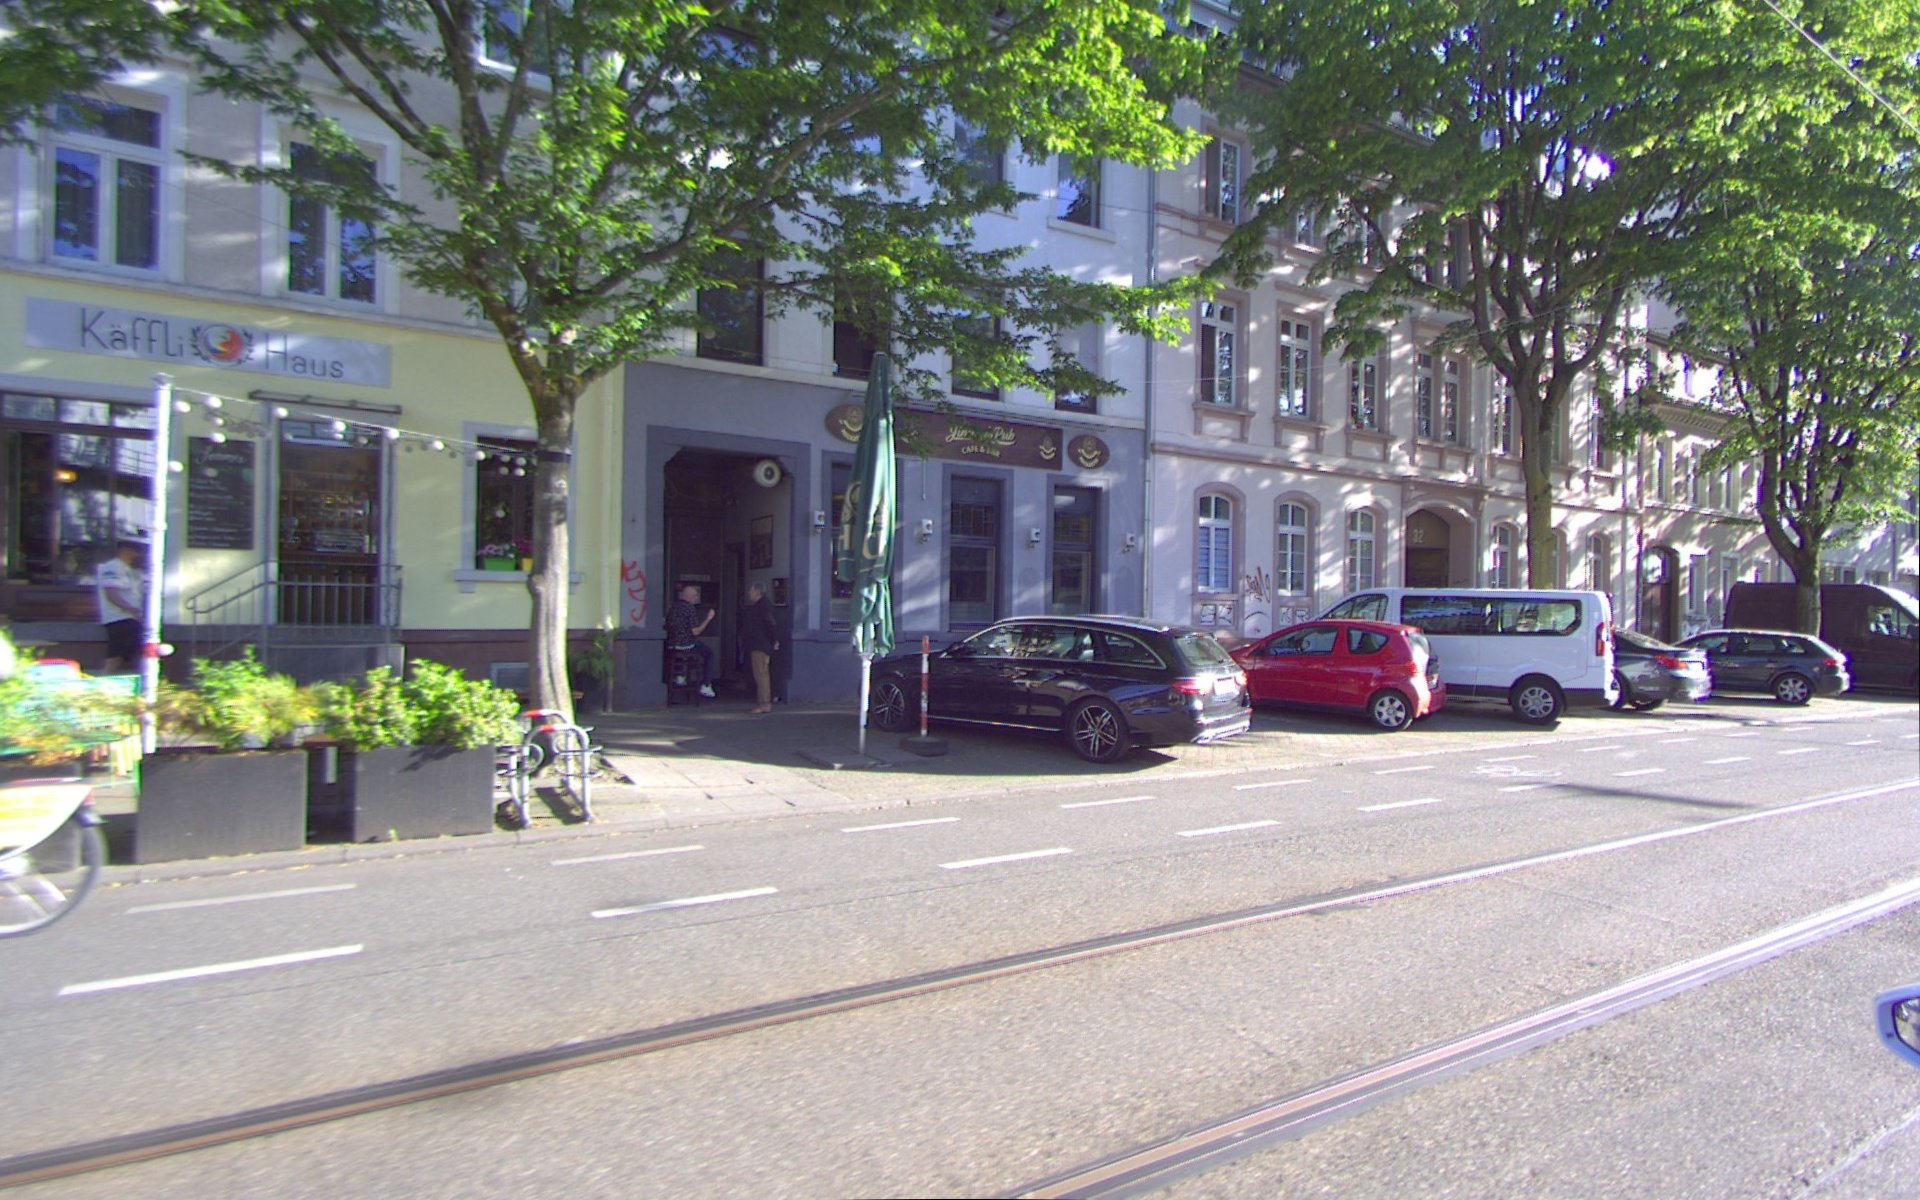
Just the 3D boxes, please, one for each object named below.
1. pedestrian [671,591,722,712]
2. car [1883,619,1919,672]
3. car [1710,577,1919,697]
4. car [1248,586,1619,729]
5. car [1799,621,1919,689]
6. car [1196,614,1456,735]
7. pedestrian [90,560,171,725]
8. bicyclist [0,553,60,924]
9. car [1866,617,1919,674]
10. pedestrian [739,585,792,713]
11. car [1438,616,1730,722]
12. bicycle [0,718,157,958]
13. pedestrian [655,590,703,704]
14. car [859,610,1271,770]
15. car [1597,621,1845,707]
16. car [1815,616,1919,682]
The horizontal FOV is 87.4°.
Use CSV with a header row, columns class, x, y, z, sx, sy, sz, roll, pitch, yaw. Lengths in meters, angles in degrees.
class,x,y,z,sx,sy,sz,roll,pitch,yaw
pedestrian,-3.733,0.722,14.223,0.564,1.664,0.535,1,-2,-33
car,31.621,1.535,31.190,1.812,1.629,4.055,2,1,-37
car,21.777,0.845,24.423,2.222,2.612,5.148,2,1,-34
car,7.646,0.844,16.493,5.260,2.018,2.032,0,-1,36
car,24.190,1.400,25.563,1.812,1.629,4.056,1,0,-37
car,5.385,1.007,14.907,3.274,1.523,1.681,0,1,39
pedestrian,-8.709,0.440,10.564,0.564,1.664,0.535,1,-2,-33
bicyclist,-4.703,0.593,4.383,1.017,1.593,0.720,1,-1,-32
car,29.637,1.444,29.614,1.812,1.629,4.055,2,1,-37
pedestrian,-2.703,0.675,13.982,0.498,1.737,0.536,-1,-2,45
car,11.037,1.136,18.006,1.813,1.438,4.054,2,1,-38
bicycle,-4.730,1.064,4.362,1.863,0.965,0.607,1,-1,-32
pedestrian,-4.219,0.703,15.082,0.564,1.664,0.535,1,-2,-33
car,1.090,0.902,11.741,4.570,1.510,1.682,0,-1,37
car,16.205,1.287,21.507,4.042,1.438,1.818,4,2,43
car,26.126,1.375,27.327,1.812,1.629,4.055,2,1,-37
